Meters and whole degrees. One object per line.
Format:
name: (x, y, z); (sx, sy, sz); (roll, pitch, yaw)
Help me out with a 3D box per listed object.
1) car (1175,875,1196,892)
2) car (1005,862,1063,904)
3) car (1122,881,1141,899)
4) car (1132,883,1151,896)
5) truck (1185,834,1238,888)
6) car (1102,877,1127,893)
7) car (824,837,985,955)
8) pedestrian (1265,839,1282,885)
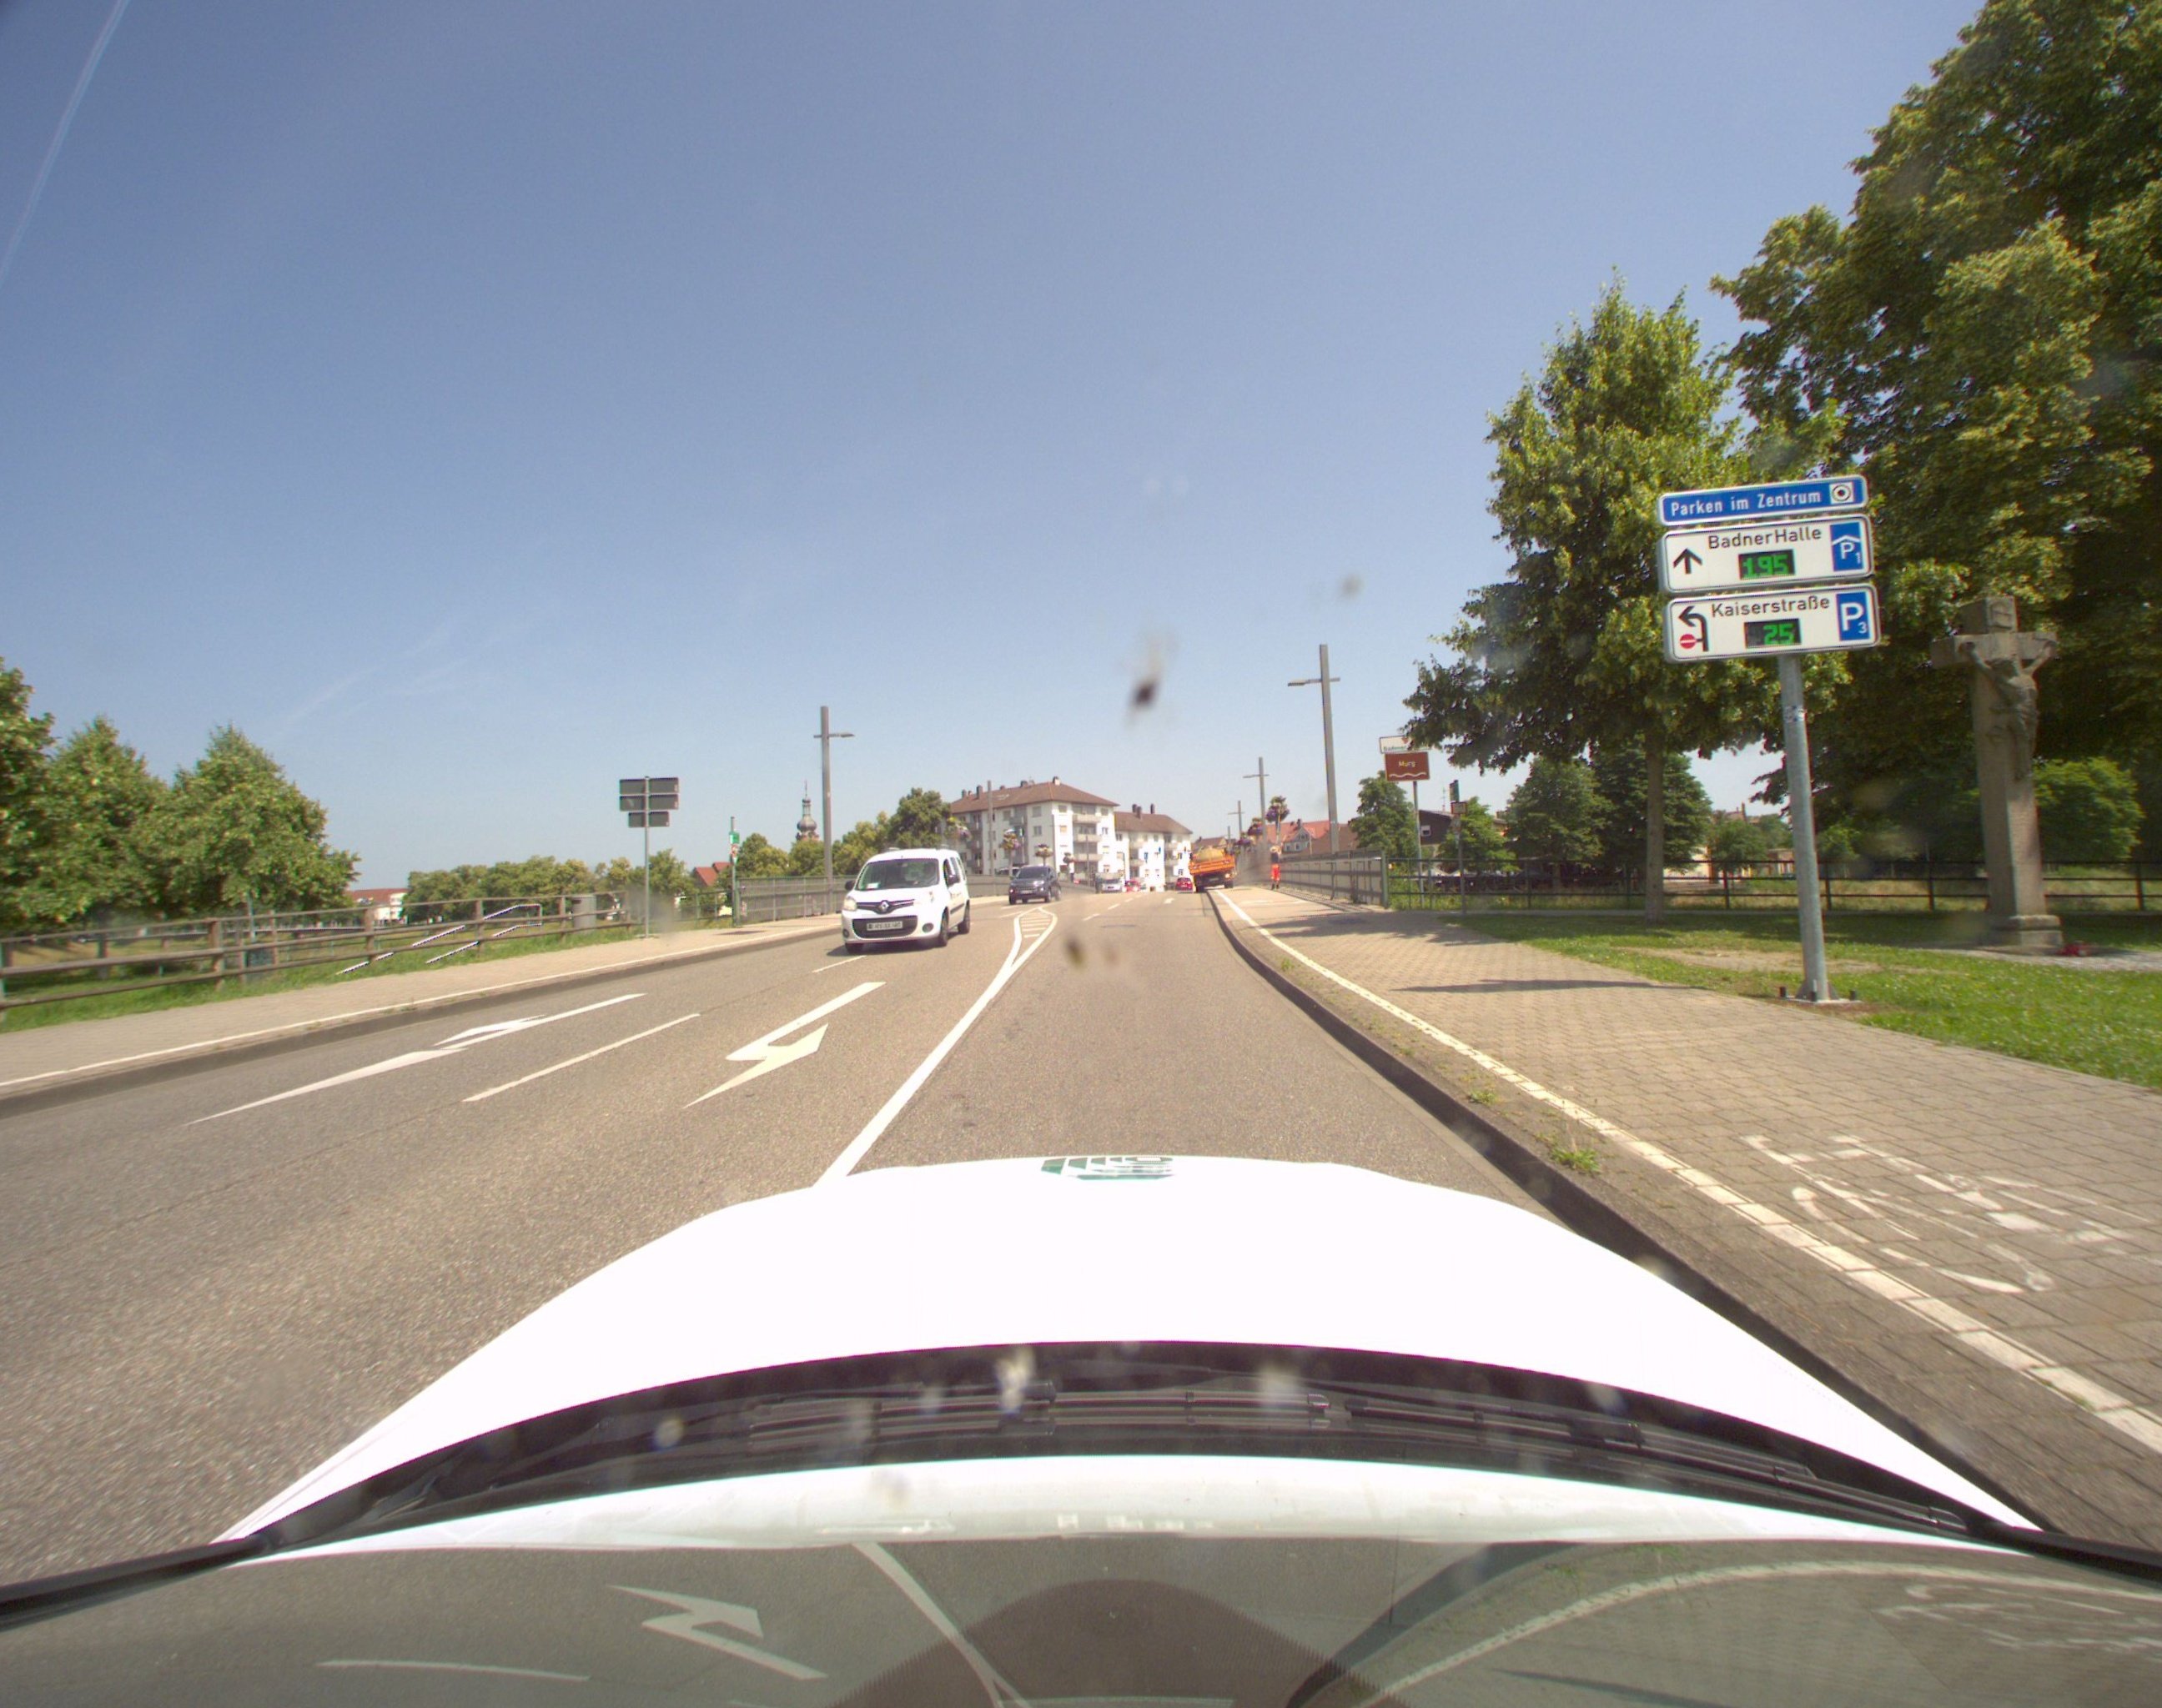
car: (10.532, 3.030, 82.550); (1.980, 1.613, 4.349); (-3, -3, 6)
car: (-1.986, 1.222, 35.643); (1.727, 1.640, 3.929); (-4, -1, 7)
car: (5.361, 3.855, 86.310); (1.727, 1.777, 4.184); (-2, -3, 7)
car: (7.564, 4.468, 102.217); (1.833, 1.432, 4.725); (-4, -4, 10)
truck: (7.187, 0.444, 45.076); (2.591, 2.691, 5.836); (-3, -2, 8)
car: (2.979, 2.708, 71.339); (1.689, 1.359, 4.465); (-2, -2, 8)
car: (-3.214, 0.731, 15.867); (1.830, 1.860, 4.665); (-4, -1, 2)
pedestrian: (8.286, 0.358, 35.026); (0.542, 1.960, 0.676); (-3, -4, 21)
